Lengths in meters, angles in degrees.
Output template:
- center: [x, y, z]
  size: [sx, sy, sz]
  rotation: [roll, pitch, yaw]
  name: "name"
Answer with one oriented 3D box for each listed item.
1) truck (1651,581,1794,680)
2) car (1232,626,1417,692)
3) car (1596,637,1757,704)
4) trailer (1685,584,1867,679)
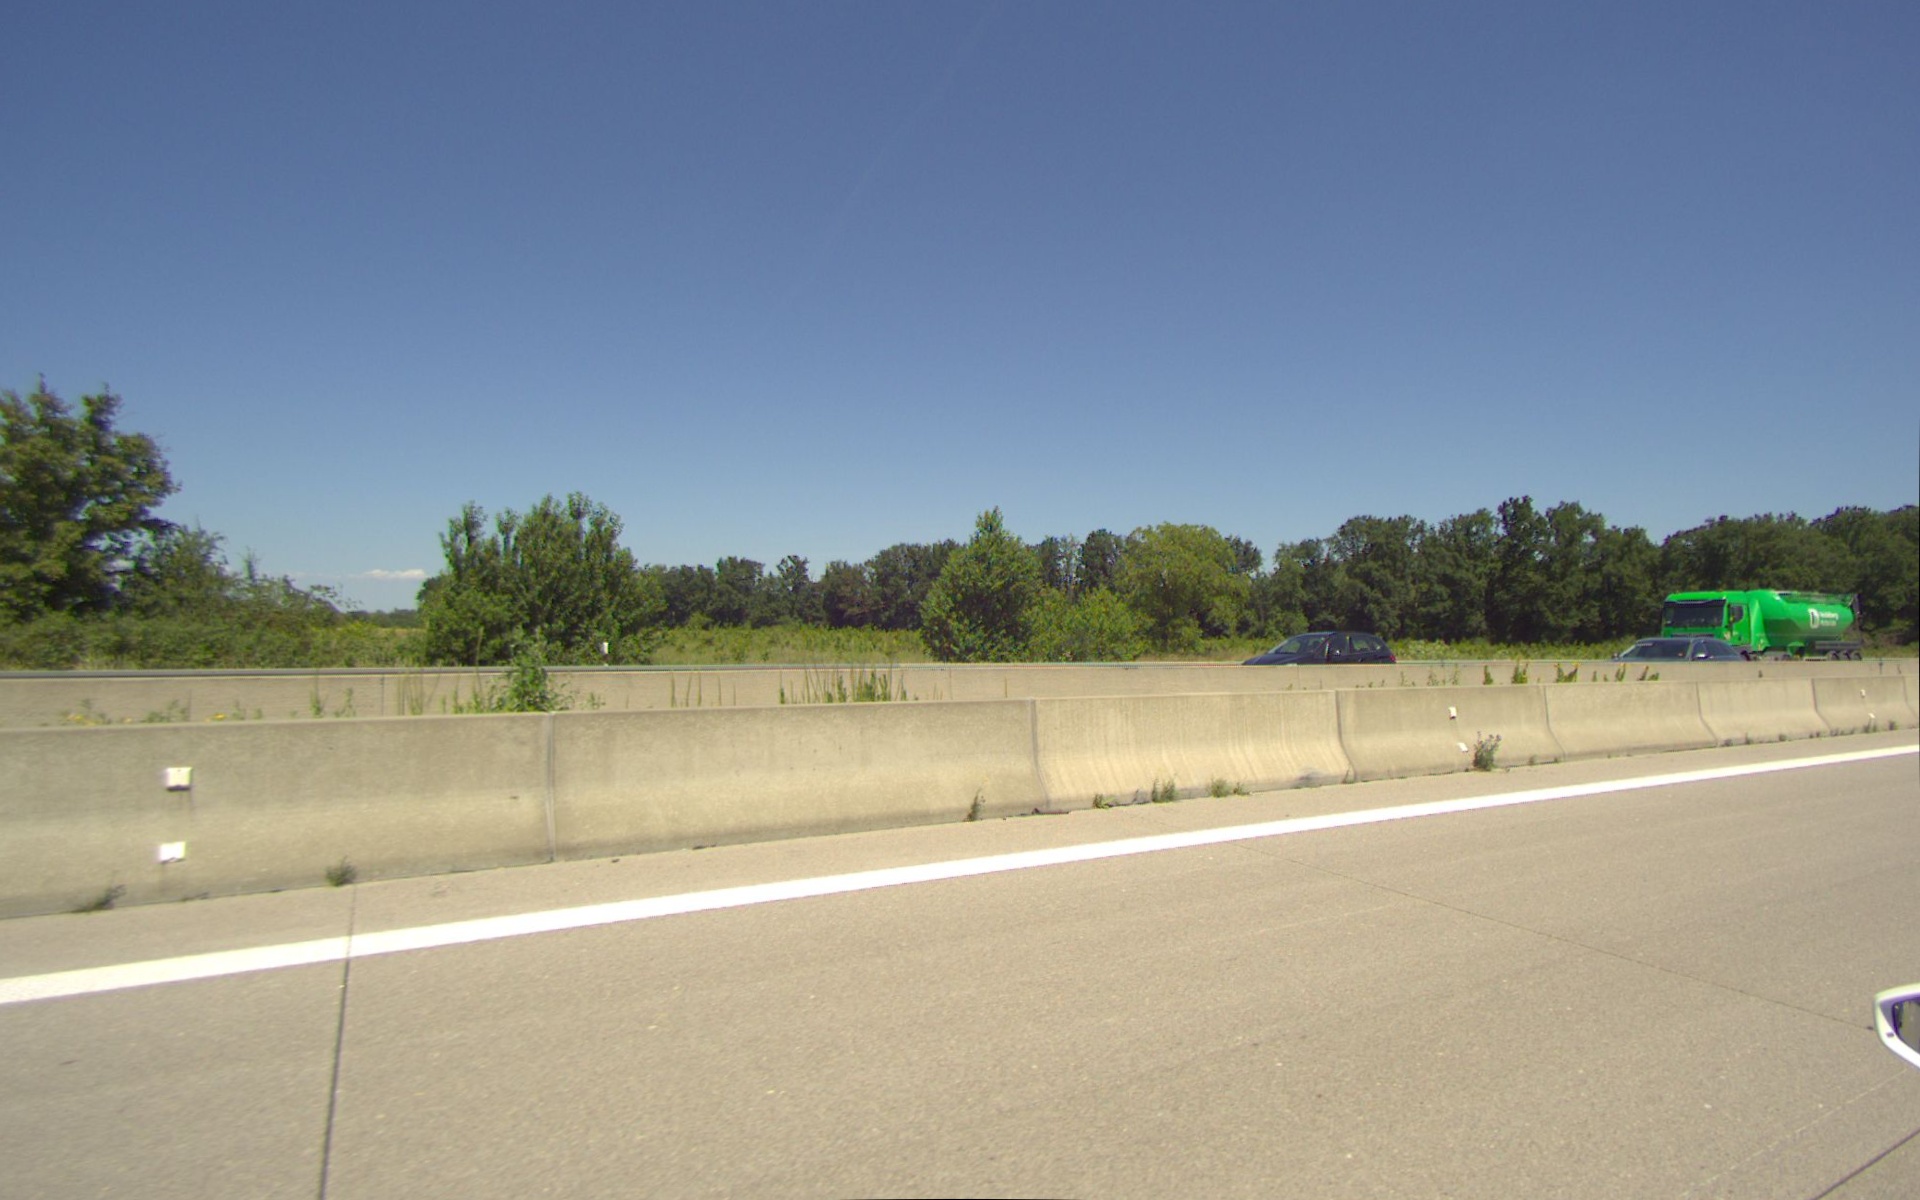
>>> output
- center: [32.409, 1.310, 42.665]
  size: [6.131, 3.934, 2.731]
  rotation: [2, -1, -30]
  name: "truck"
- center: [8.642, 1.358, 23.685]
  size: [4.493, 1.419, 1.616]
  rotation: [2, -1, -30]
  name: "car"
- center: [16.805, 1.604, 23.544]
  size: [3.763, 1.419, 1.707]
  rotation: [2, -1, -30]
  name: "car"
- center: [37.030, 1.447, 45.382]
  size: [10.974, 3.929, 2.722]
  rotation: [2, -1, -30]
  name: "trailer"
